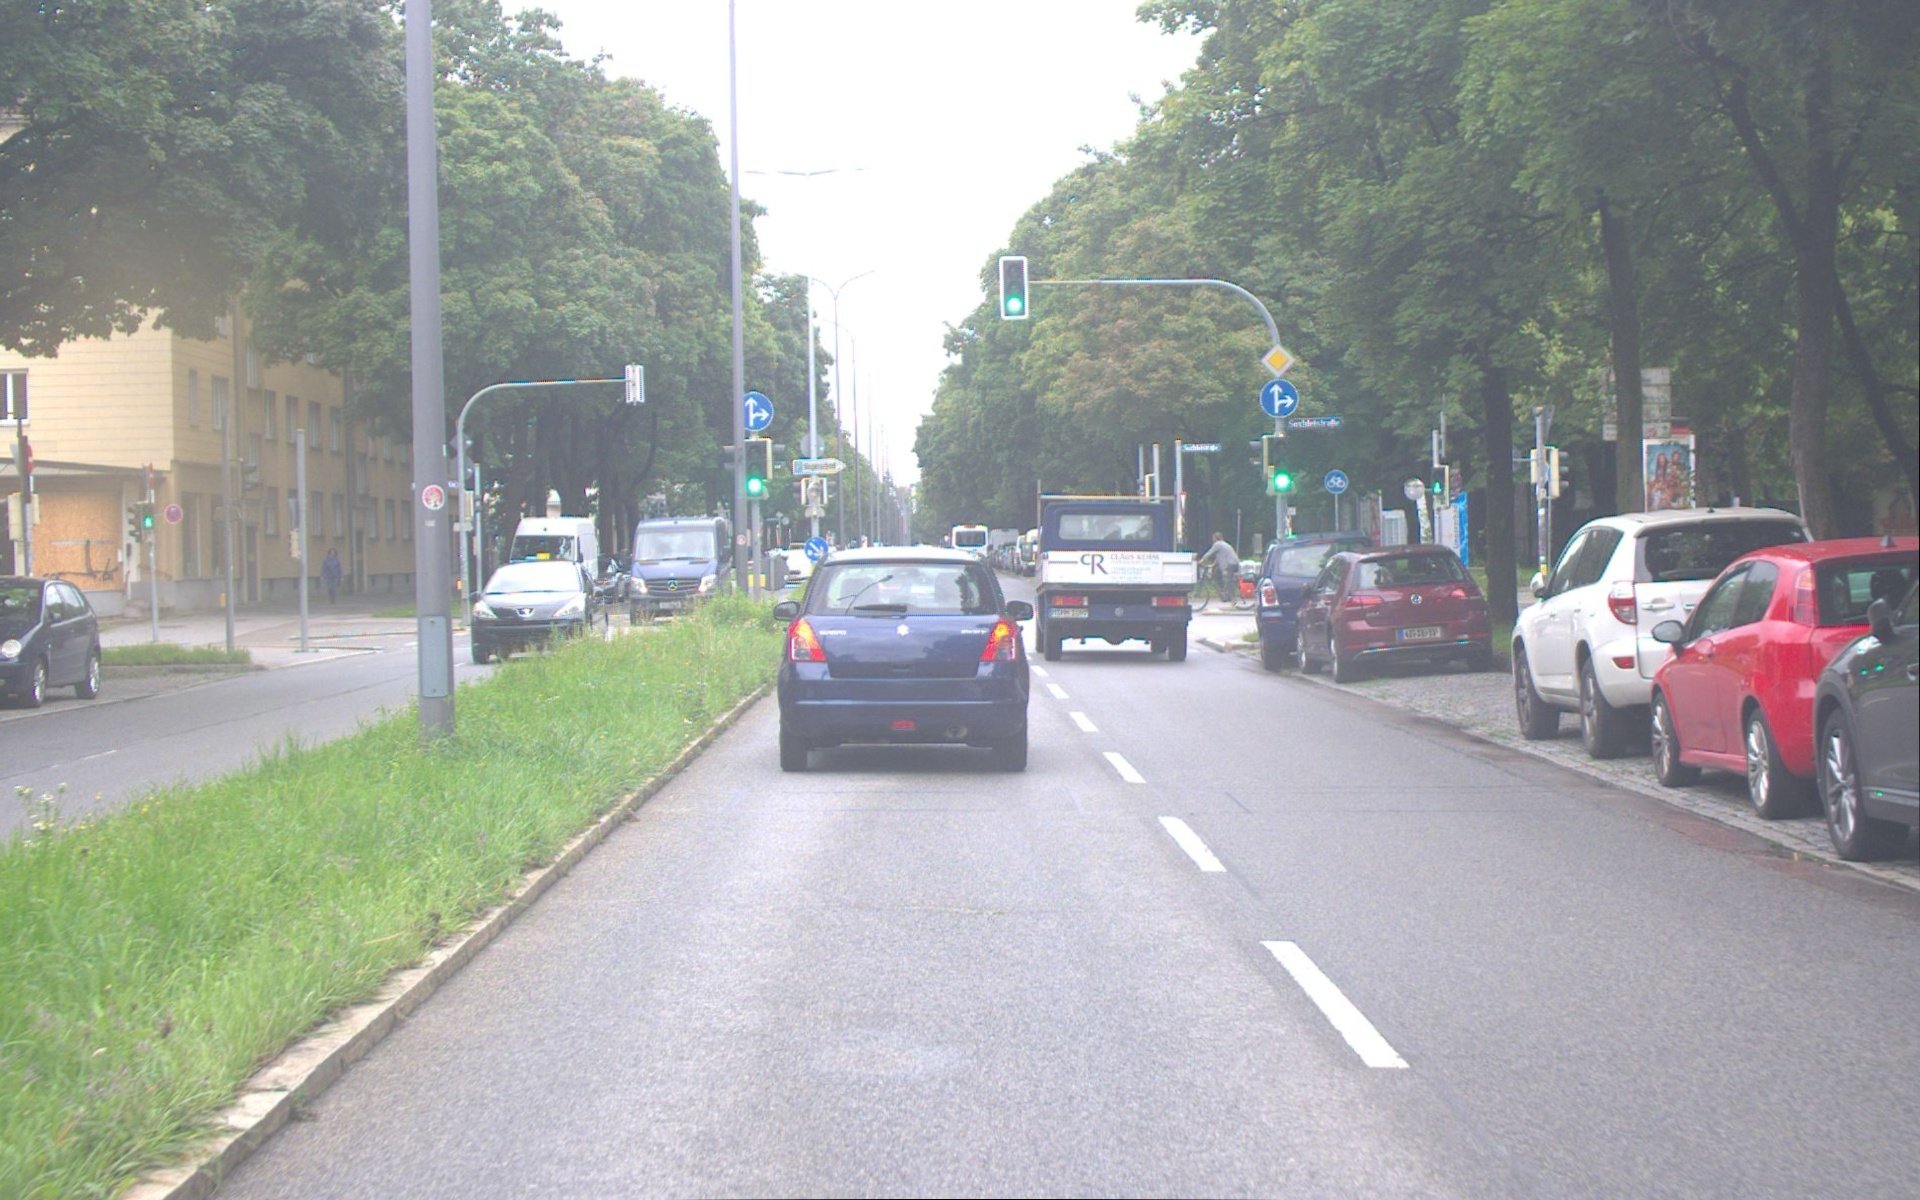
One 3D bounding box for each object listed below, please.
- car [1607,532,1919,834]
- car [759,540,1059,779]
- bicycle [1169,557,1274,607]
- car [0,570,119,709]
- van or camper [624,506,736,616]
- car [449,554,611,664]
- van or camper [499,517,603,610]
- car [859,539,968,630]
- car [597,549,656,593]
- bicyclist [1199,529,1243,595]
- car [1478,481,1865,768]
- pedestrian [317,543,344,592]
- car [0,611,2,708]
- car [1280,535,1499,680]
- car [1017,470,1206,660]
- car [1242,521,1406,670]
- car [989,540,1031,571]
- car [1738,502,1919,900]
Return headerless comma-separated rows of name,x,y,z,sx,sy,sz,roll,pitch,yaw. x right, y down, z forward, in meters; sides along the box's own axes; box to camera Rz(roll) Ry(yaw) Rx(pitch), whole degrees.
car,5.130,0.397,20.188,1.760,1.501,4.144,-3,1,-1
car,-0.435,0.350,24.110,1.896,1.494,3.661,-2,1,-4
bicycle,5.896,-0.420,77.568,2.297,1.110,0.996,0,1,1
car,-11.048,0.414,39.844,1.564,1.445,3.838,2,1,1
van or camper,-6.043,-0.873,74.847,2.023,2.253,6.022,-2,1,-1
car,-6.159,0.096,49.617,1.737,1.437,4.103,-2,1,1
van or camper,-11.510,-1.062,97.176,2.140,2.467,6.259,-2,1,0
car,-0.789,-0.288,59.815,1.799,1.494,3.660,-1,1,0
car,-11.386,-1.007,117.551,1.636,1.437,3.735,-2,1,0
bicyclist,5.883,-0.862,77.561,0.930,1.474,0.990,0,1,1
car,5.095,0.120,25.235,1.760,1.824,4.528,-3,1,-1
pedestrian,-18.593,-0.955,101.530,0.629,1.435,0.806,1,0,0
car,-10.905,0.418,34.289,1.666,1.557,4.300,-1,1,-3
car,4.830,0.039,39.181,1.712,1.419,4.284,-5,1,-2
car,1.990,-0.498,46.667,2.419,2.436,5.086,0,1,1
car,4.601,-0.104,43.953,1.763,1.652,4.283,-5,1,4
car,2.424,-2.190,167.402,1.786,1.494,3.661,0,1,-4
car,4.969,0.394,15.129,1.760,1.692,5.230,-3,1,-1
